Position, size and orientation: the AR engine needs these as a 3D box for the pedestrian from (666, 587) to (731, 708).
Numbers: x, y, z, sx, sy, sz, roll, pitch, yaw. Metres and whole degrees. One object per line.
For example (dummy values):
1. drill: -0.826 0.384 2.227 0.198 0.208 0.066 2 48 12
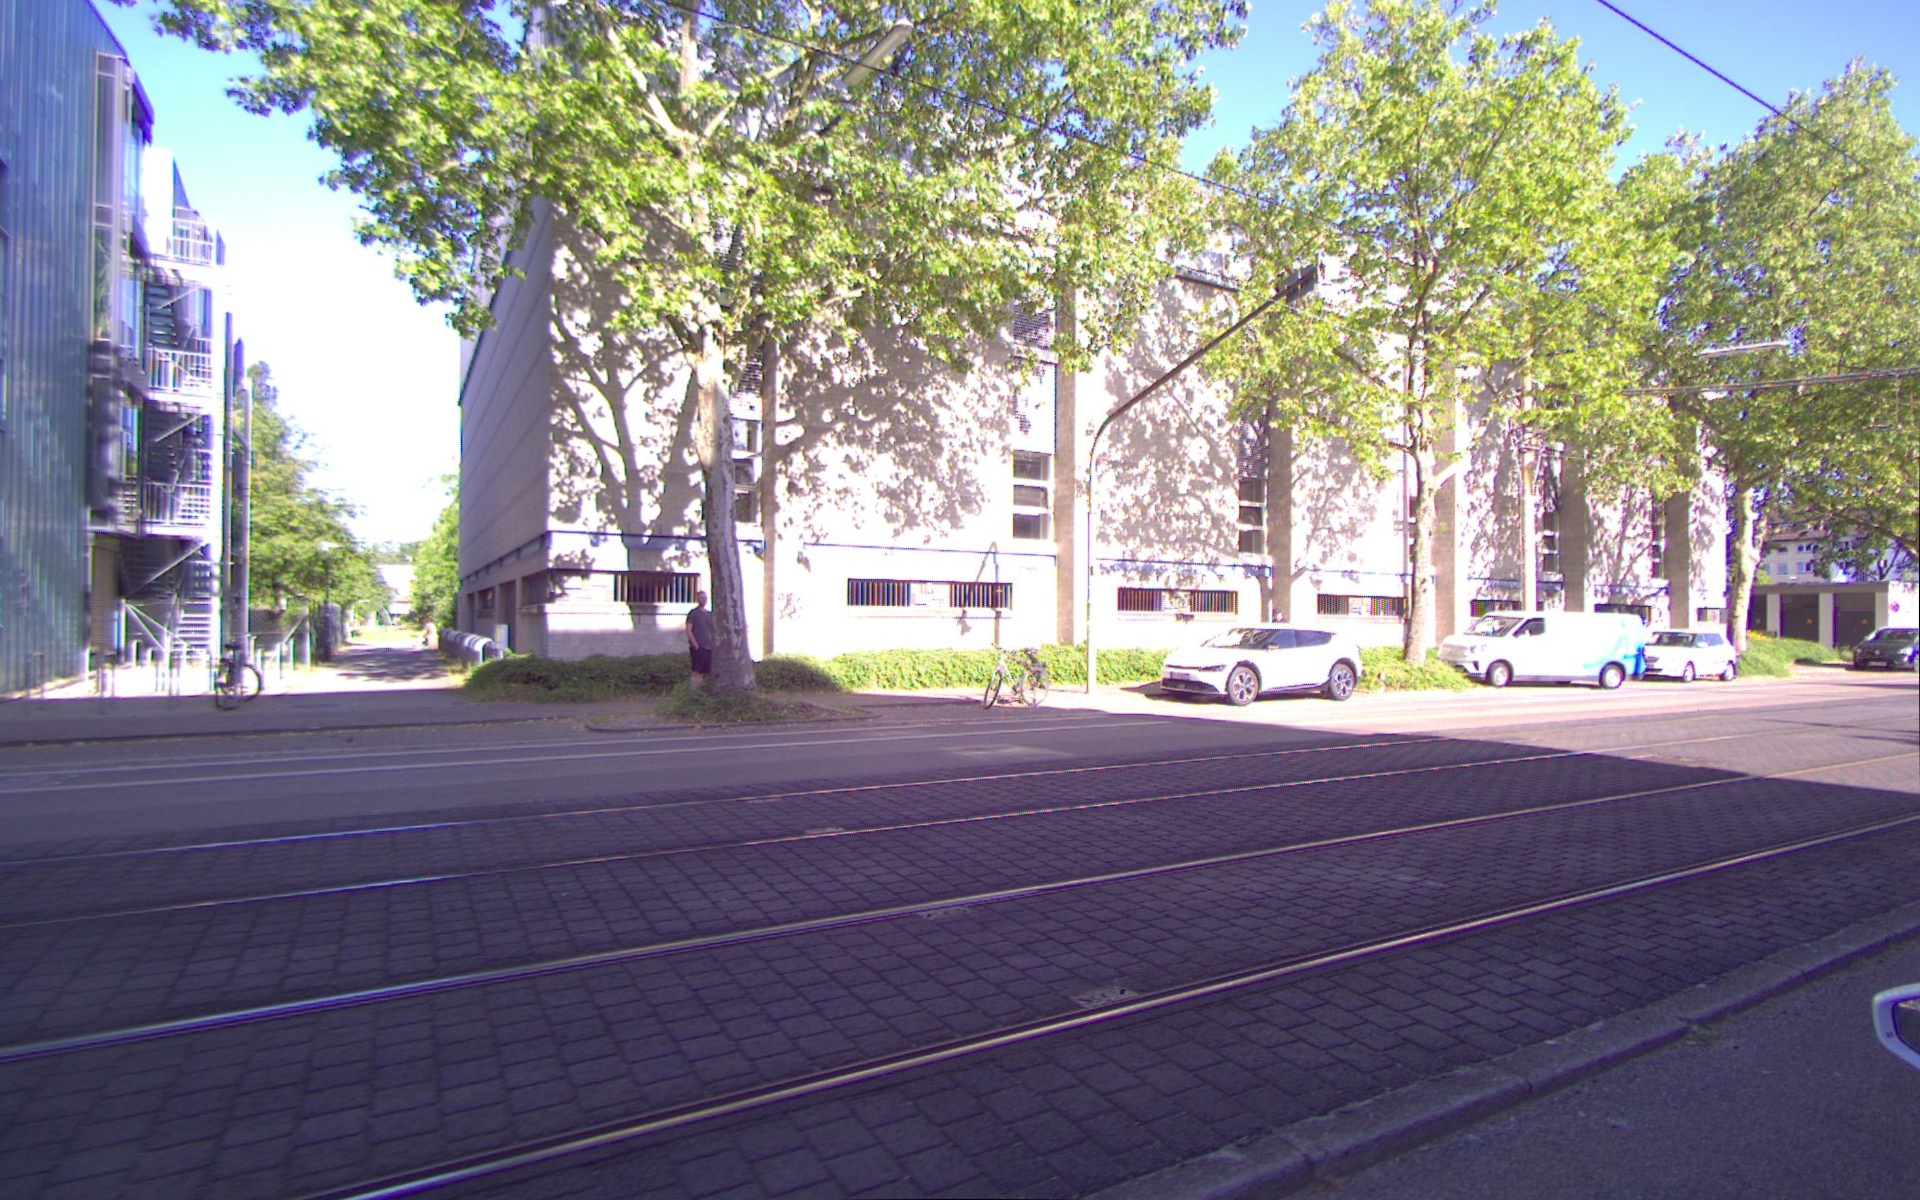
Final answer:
1. pedestrian: -4.261 0.752 16.371 0.661 1.895 0.783 2 1 41

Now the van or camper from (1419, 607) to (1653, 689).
1. van or camper: 14.823 1.215 25.969 5.096 1.976 2.063 1 1 -10

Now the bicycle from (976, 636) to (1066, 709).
1. bicycle: 1.118 1.287 18.220 1.638 1.225 0.577 0 1 -37

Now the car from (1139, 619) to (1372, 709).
1. car: 6.102 1.219 20.614 4.641 1.594 2.001 1 1 -32

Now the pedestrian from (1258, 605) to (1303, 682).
1. pedestrian: 7.910 1.060 24.800 0.662 1.845 0.793 0 1 -30

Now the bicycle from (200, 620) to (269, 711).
1. bicycle: -11.472 0.989 15.926 0.656 1.295 1.999 0 1 -29

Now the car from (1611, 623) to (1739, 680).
1. car: 21.177 1.481 29.704 4.042 1.527 1.566 1 1 -31

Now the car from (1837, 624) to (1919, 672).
1. car: 35.342 1.786 38.182 3.953 1.688 1.879 1 -1 -31
